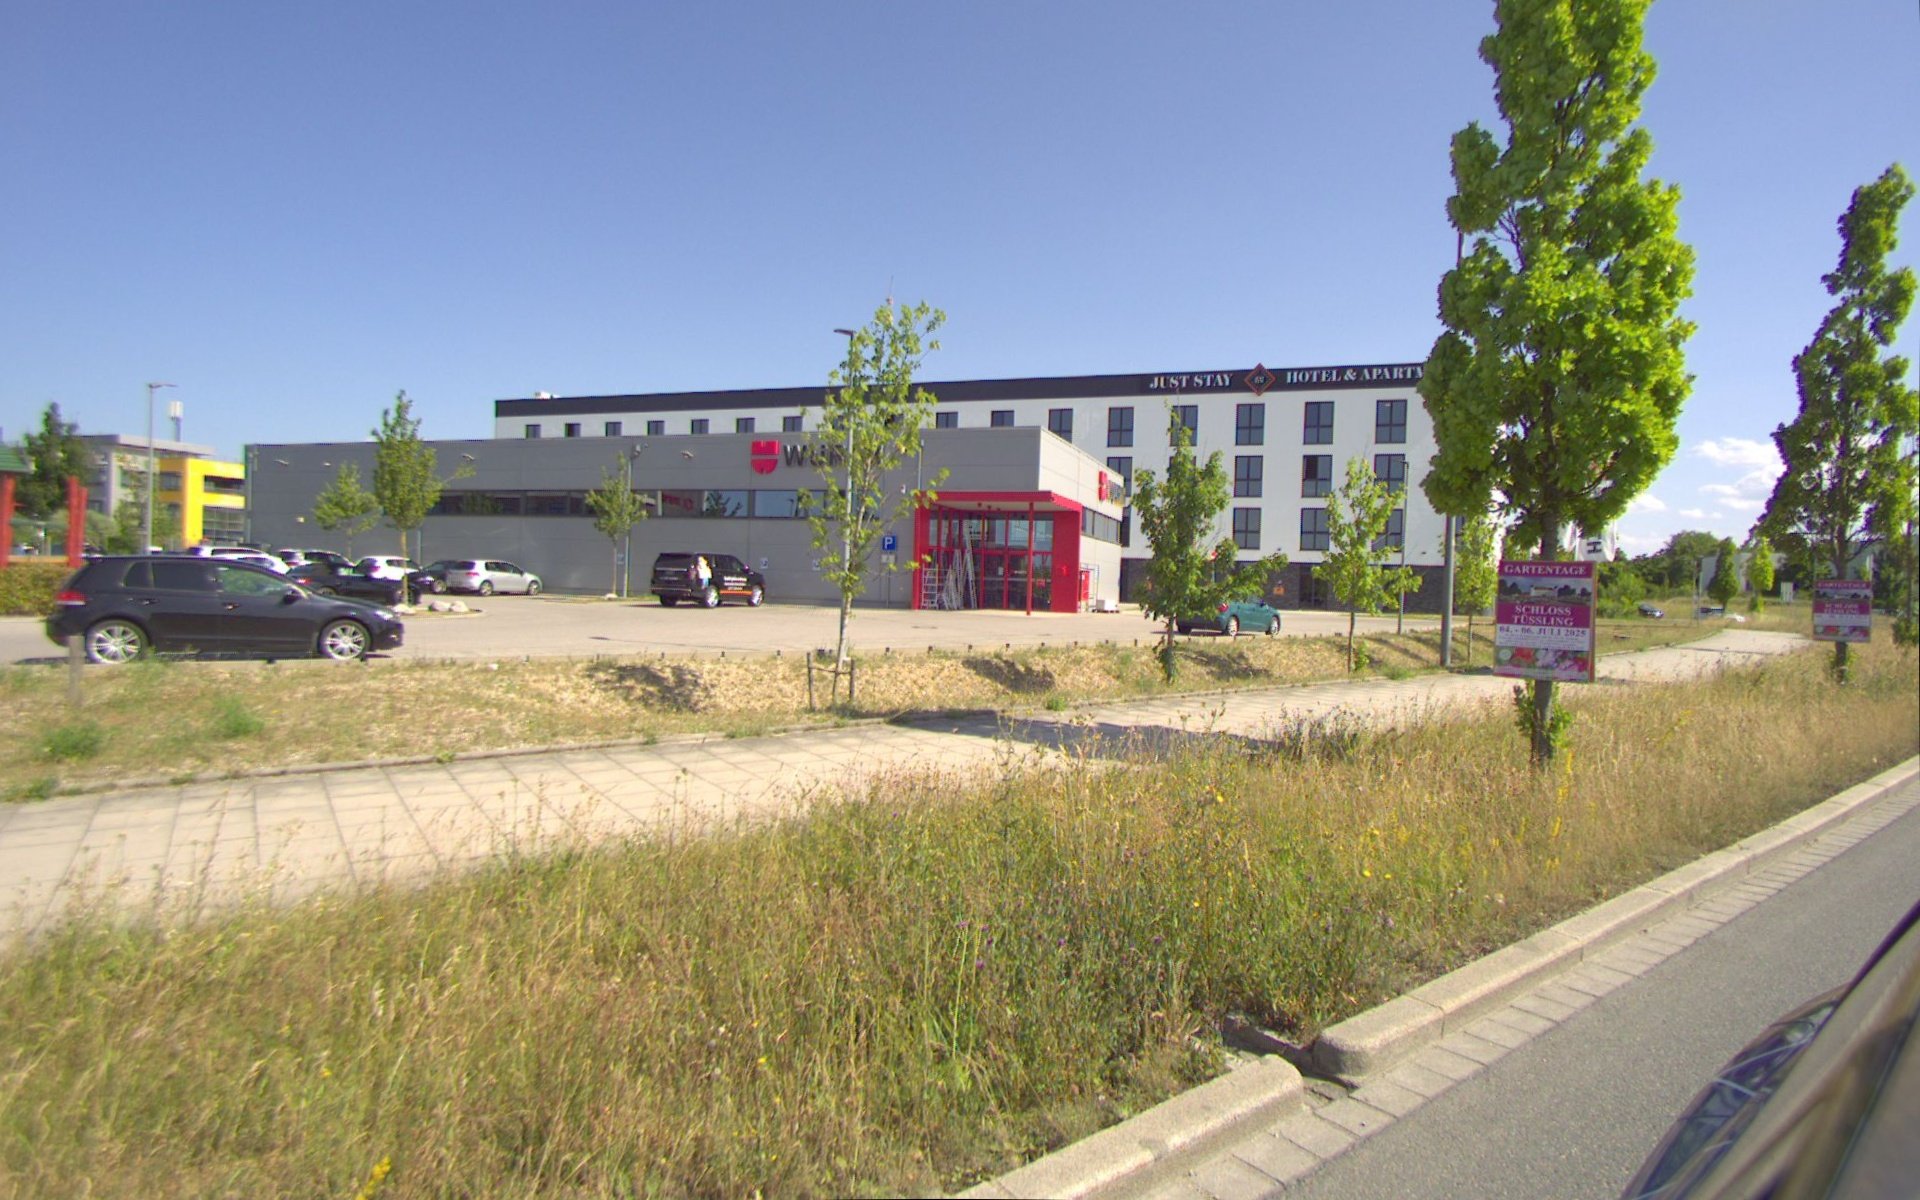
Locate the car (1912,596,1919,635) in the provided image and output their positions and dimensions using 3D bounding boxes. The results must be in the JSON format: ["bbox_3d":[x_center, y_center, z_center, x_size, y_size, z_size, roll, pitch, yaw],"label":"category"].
[{"bbox_3d":[42.133,0.719,42.931,1.746,1.708,4.328,2,1,34],"label":"car"}]

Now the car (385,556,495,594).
[{"bbox_3d":[-21.727,-1.042,42.472,1.680,1.480,4.083,1,1,19],"label":"car"}]

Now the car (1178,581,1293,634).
[{"bbox_3d":[8.166,0.192,29.839,1.514,1.425,3.935,2,1,44],"label":"car"}]

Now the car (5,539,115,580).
[{"bbox_3d":[-43.675,-1.973,49.127,4.866,1.838,2.034,2,1,22],"label":"car"}]

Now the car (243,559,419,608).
[{"bbox_3d":[-17.378,-0.468,28.199,1.632,1.227,4.111,1,1,18],"label":"car"}]

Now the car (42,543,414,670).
[{"bbox_3d":[-10.265,0.055,14.464,4.093,1.559,1.785,0,1,-39],"label":"car"}]

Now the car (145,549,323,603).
[{"bbox_3d":[-21.702,-0.708,30.462,1.680,1.490,4.208,1,1,18],"label":"car"}]

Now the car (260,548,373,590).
[{"bbox_3d":[-28.592,-1.369,45.096,1.680,1.779,4.083,1,1,19],"label":"car"}]

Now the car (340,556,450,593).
[{"bbox_3d":[-24.297,-1.101,43.662,1.680,1.480,4.083,1,1,19],"label":"car"}]

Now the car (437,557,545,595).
[{"bbox_3d":[-19.241,-0.992,41.741,1.680,1.480,4.083,1,1,19],"label":"car"}]

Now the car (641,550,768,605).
[{"bbox_3d":[-9.131,-0.800,36.612,2.024,1.838,4.890,2,1,21],"label":"car"}]

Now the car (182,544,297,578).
[{"bbox_3d":[-32.958,-1.753,46.415,1.680,1.480,4.083,1,1,19],"label":"car"}]
